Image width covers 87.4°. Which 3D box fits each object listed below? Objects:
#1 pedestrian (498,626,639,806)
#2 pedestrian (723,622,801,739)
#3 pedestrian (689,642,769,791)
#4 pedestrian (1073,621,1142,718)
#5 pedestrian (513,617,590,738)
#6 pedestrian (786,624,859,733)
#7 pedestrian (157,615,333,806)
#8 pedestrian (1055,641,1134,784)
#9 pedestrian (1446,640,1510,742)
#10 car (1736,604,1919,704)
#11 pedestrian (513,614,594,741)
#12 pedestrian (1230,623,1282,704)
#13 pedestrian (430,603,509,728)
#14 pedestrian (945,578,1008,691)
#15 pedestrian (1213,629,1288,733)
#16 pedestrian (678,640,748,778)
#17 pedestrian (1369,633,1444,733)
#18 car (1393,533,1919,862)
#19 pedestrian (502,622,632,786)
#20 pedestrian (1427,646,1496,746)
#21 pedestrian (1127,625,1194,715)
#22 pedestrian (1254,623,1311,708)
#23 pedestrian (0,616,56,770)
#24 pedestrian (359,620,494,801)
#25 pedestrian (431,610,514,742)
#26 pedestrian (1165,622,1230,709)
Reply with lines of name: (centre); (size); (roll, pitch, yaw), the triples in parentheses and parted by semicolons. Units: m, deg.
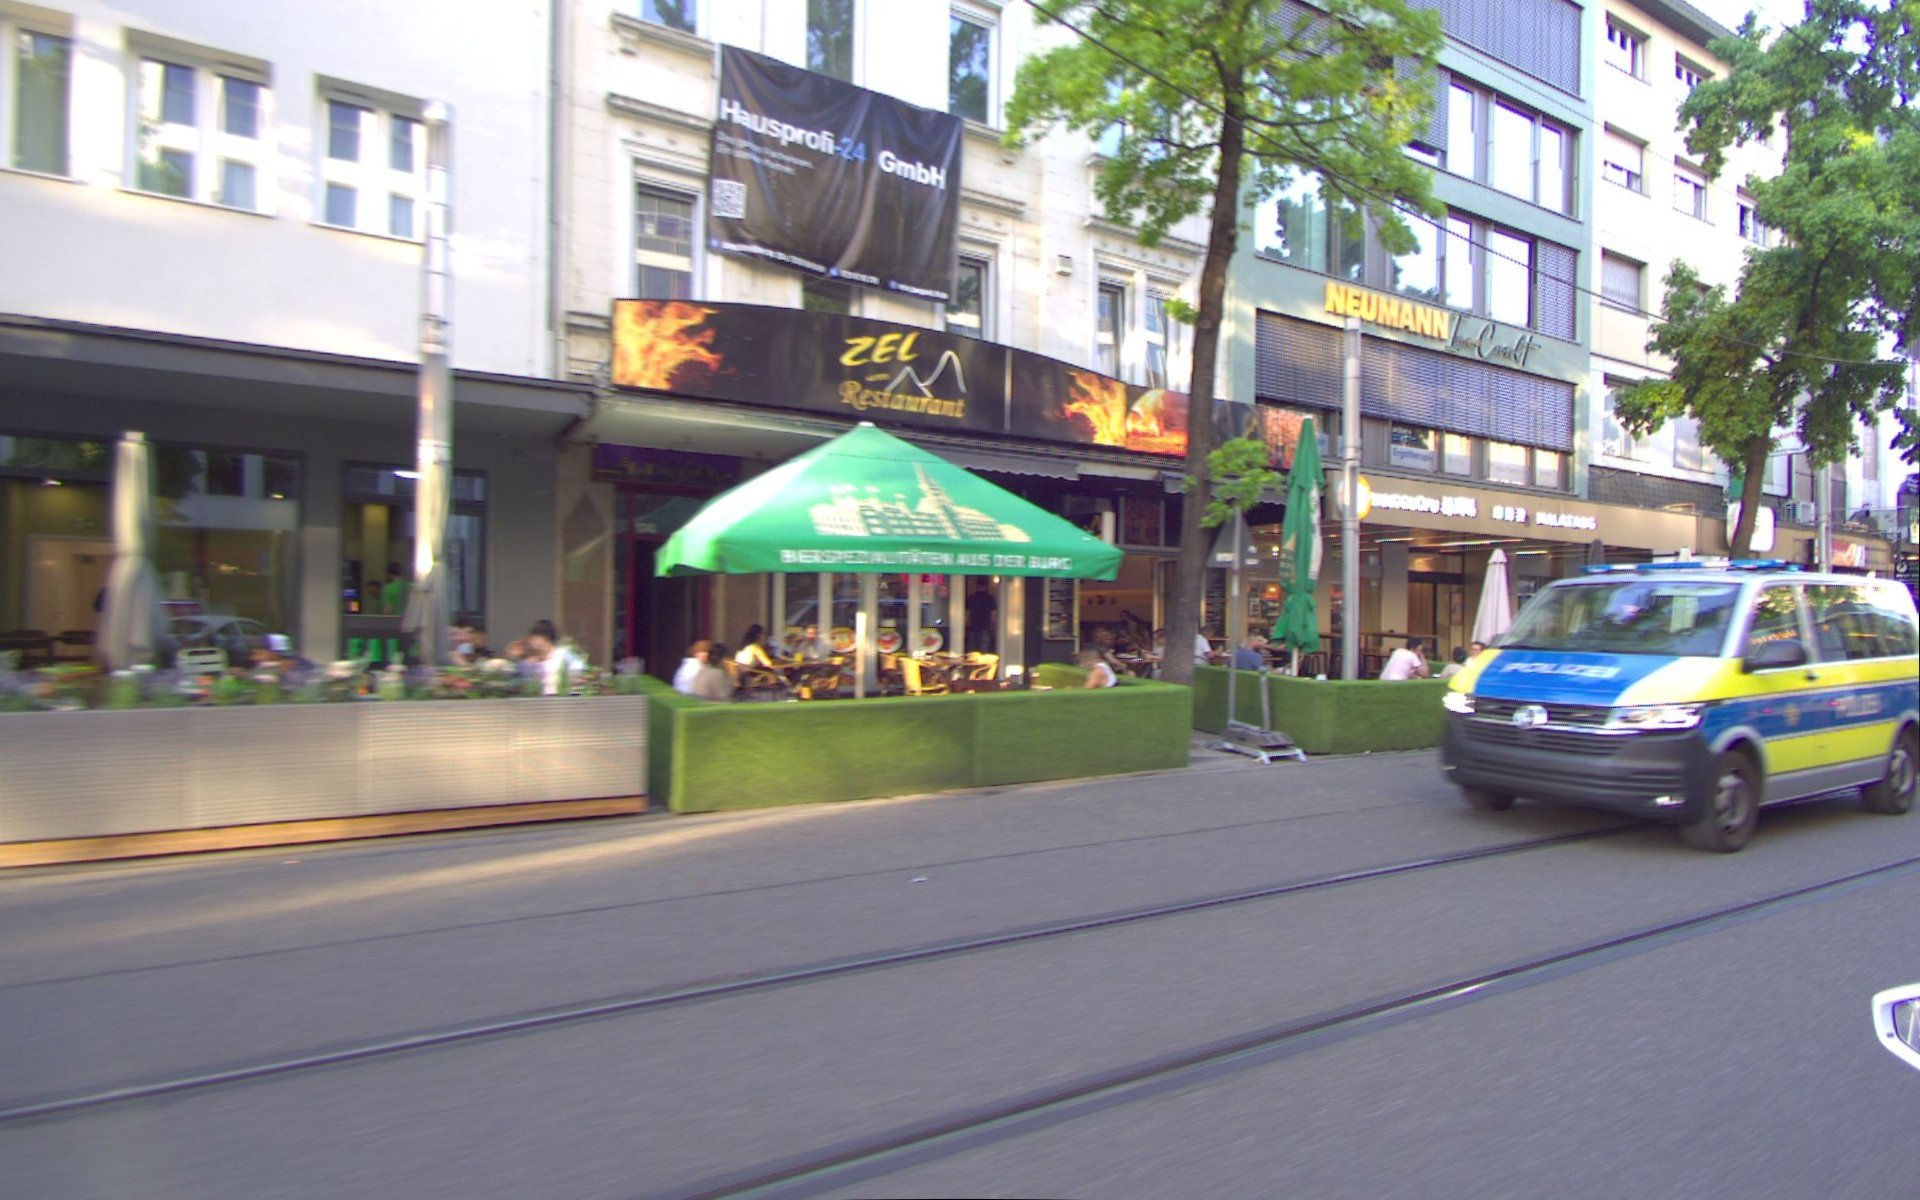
pedestrian: (-3.276, 0.926, 8.382); (0.999, 1.380, 0.713); (2, 0, -28)
pedestrian: (-2.481, 0.989, 12.546); (0.756, 1.396, 0.651); (2, -1, -29)
pedestrian: (-2.071, 1.014, 8.985); (0.537, 1.252, 0.583); (2, 0, -28)
pedestrian: (2.227, 1.034, 15.146); (0.756, 1.396, 0.651); (2, -1, -29)
pedestrian: (-4.960, 0.927, 12.193); (0.756, 1.396, 0.651); (2, -1, -29)
pedestrian: (-1.857, 1.035, 13.504); (0.756, 1.396, 0.651); (2, -1, -29)
pedestrian: (-5.565, 0.827, 7.883); (0.999, 1.380, 0.713); (2, 0, -28)
pedestrian: (1.387, 1.139, 10.376); (0.558, 1.396, 0.545); (2, -1, -29)
pedestrian: (7.427, 1.291, 14.397); (0.558, 1.396, 0.577); (2, -1, -29)
car: (18.318, 1.098, 20.854); (4.460, 1.842, 1.786); (2, 0, -28)
pedestrian: (-4.676, 0.873, 11.547); (0.756, 1.396, 0.651); (2, -1, -29)
pedestrian: (5.215, 1.111, 17.698); (0.671, 1.396, 0.535); (2, -1, -29)
pedestrian: (-5.725, 0.744, 11.724); (0.756, 1.396, 0.651); (2, -1, -29)
pedestrian: (0.277, 0.560, 16.409); (0.647, 1.789, 0.761); (1, -1, 42)
pedestrian: (3.758, 1.030, 13.015); (0.593, 1.281, 0.705); (2, -1, -29)
pedestrian: (-2.348, 1.011, 9.530); (0.504, 1.235, 0.541); (2, 0, -28)
pedestrian: (6.357, 1.170, 14.321); (0.722, 1.364, 0.641); (2, -1, -28)
car: (5.941, 0.648, 8.189); (4.793, 2.003, 1.984); (1, -1, -30)
pedestrian: (-3.568, 0.911, 9.106); (0.999, 1.380, 0.713); (2, 0, -28)
pedestrian: (6.772, 1.277, 13.566); (0.634, 1.283, 0.549); (2, -1, -29)
pedestrian: (3.142, 1.079, 15.741); (0.756, 1.348, 0.651); (2, -1, -29)
pedestrian: (5.474, 1.099, 17.058); (0.640, 1.396, 0.602); (2, -1, -29)
pedestrian: (-8.956, 0.824, 9.111); (0.870, 1.337, 0.845); (2, -1, -26)
pedestrian: (-4.387, 0.873, 8.297); (0.913, 1.380, 0.713); (2, 0, -28)
pedestrian: (-5.415, 0.827, 11.152); (0.756, 1.396, 0.651); (2, -1, -29)
pedestrian: (3.968, 1.086, 16.806); (0.756, 1.396, 0.687); (2, -1, -29)
